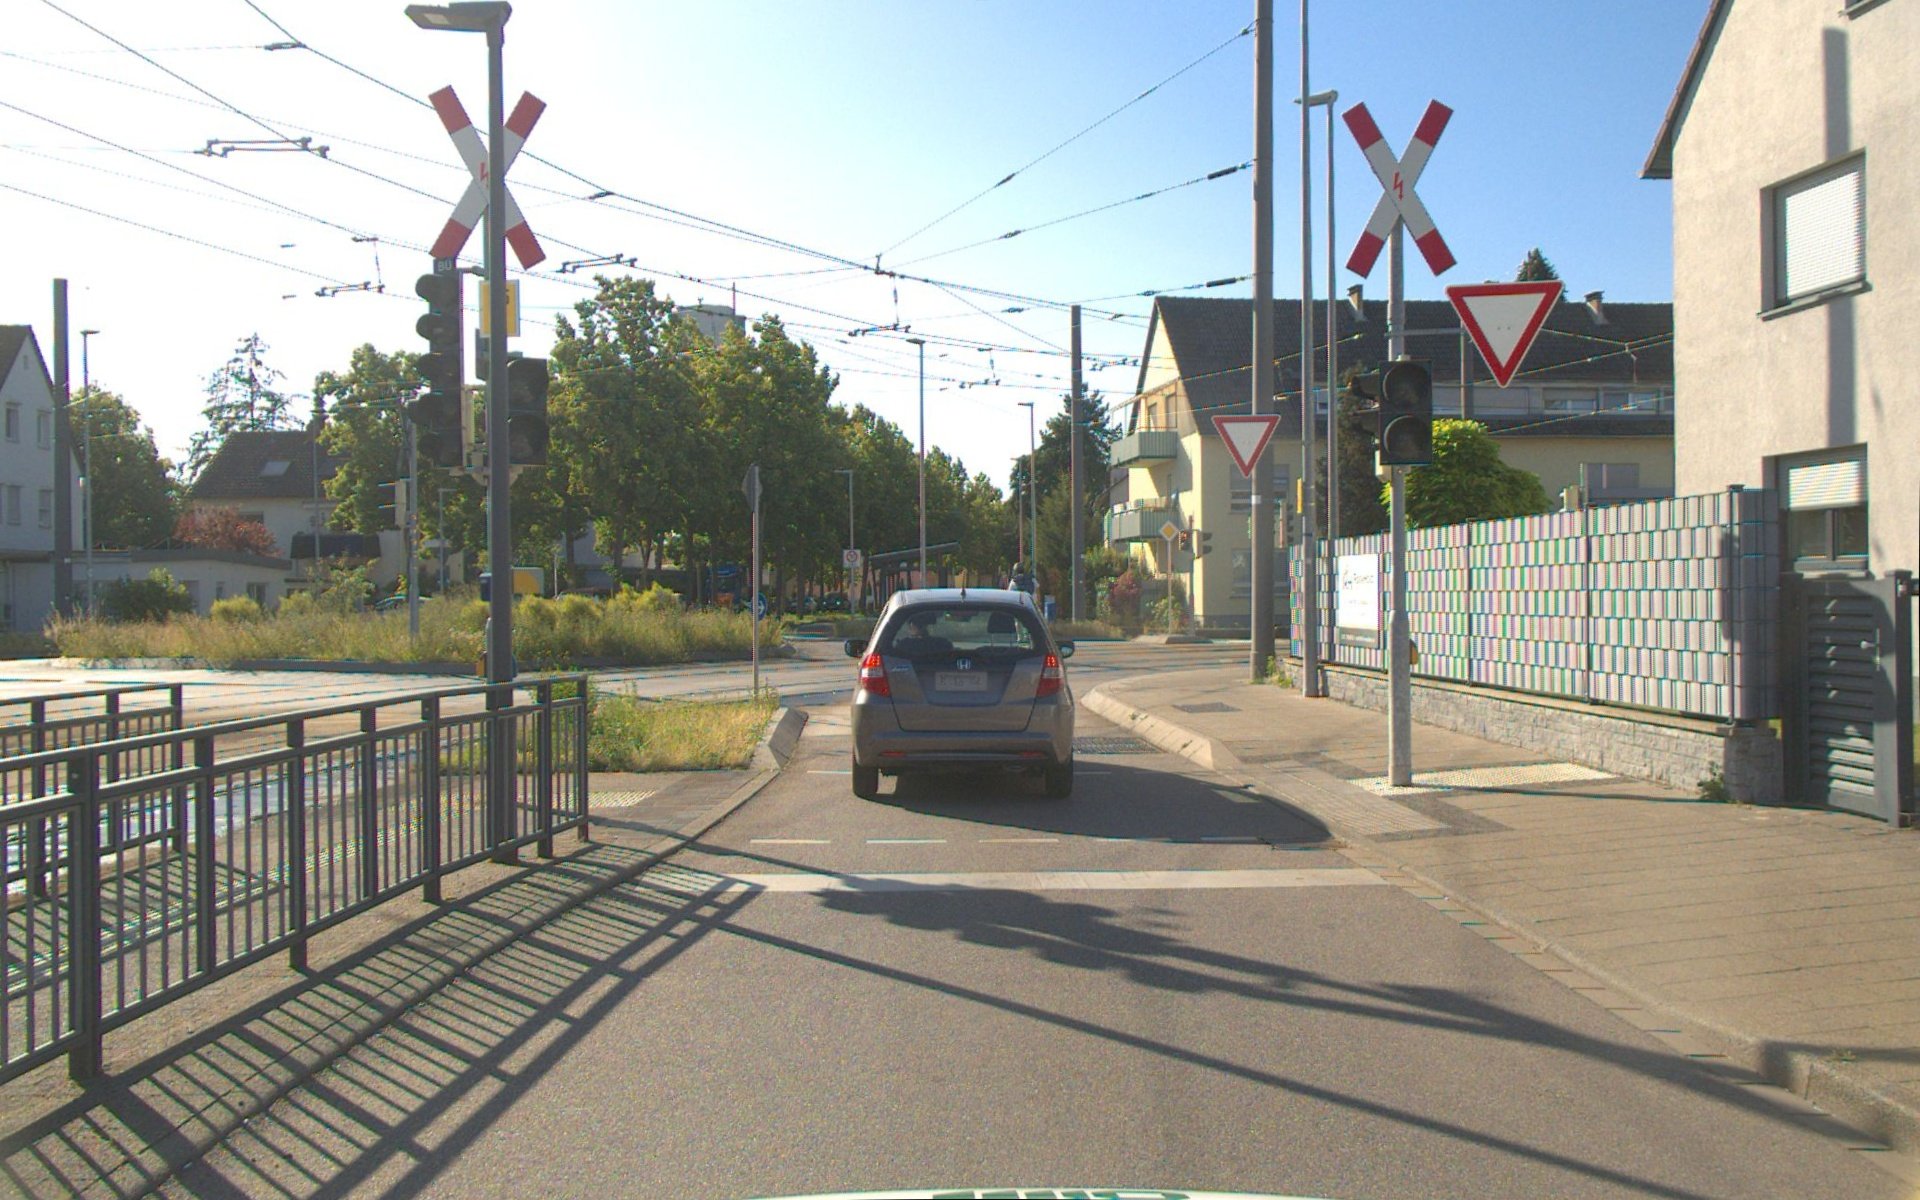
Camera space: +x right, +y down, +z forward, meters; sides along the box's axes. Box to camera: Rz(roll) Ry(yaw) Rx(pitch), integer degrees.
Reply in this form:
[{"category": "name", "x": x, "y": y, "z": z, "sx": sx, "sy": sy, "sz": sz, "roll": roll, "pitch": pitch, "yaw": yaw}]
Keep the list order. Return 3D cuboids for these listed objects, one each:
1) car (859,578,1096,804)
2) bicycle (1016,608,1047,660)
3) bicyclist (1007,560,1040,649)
[{"category": "car", "x": 0.021, "y": 0.634, "z": 13.303, "sx": 1.637, "sy": 1.562, "sz": 3.484, "roll": 1, "pitch": 0, "yaw": -4}, {"category": "bicycle", "x": 1.389, "y": 0.658, "z": 32.340, "sx": 0.466, "sy": 0.978, "sz": 1.656, "roll": 1, "pitch": 0, "yaw": -3}, {"category": "bicyclist", "x": 1.245, "y": 0.095, "z": 32.535, "sx": 0.586, "sy": 1.731, "sz": 0.683, "roll": 1, "pitch": -1, "yaw": -3}]
